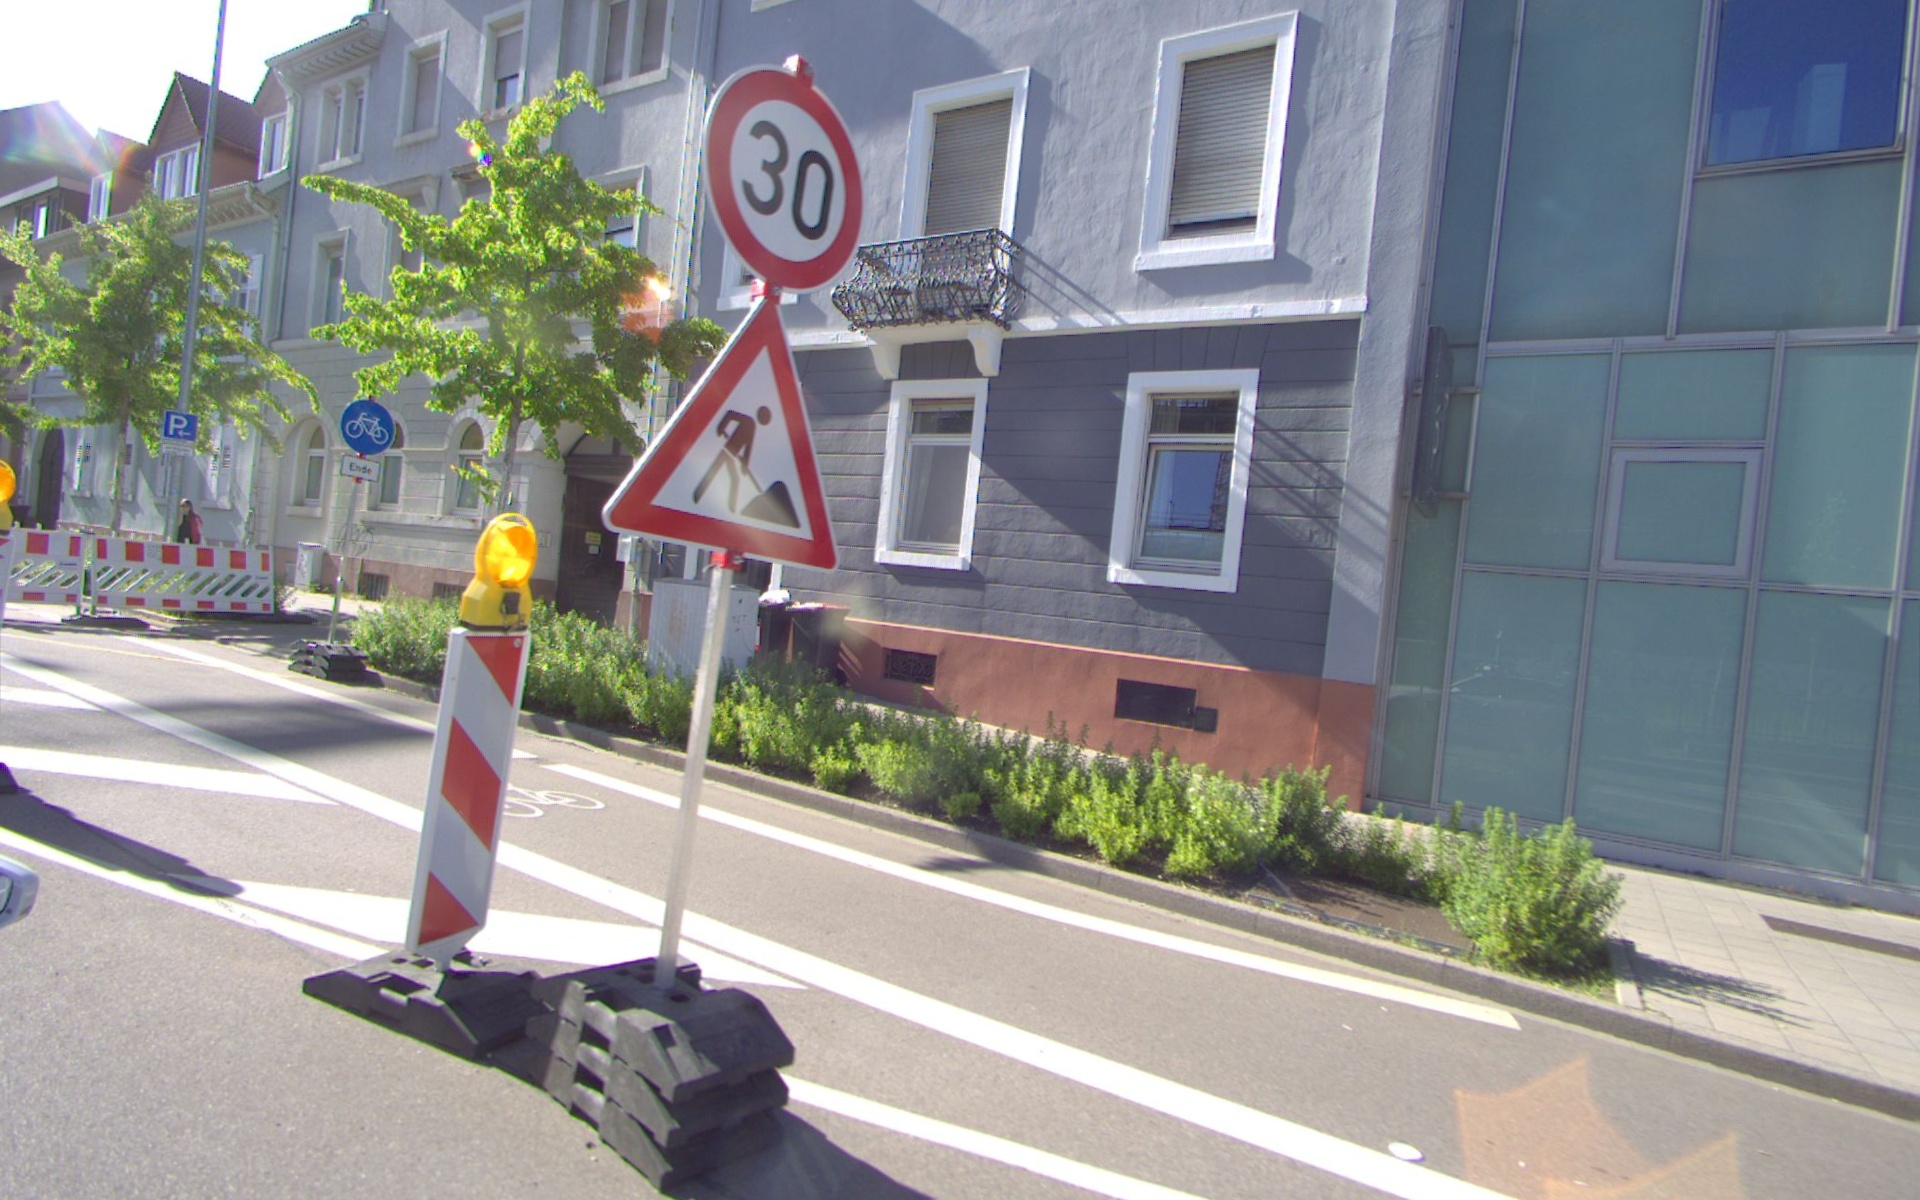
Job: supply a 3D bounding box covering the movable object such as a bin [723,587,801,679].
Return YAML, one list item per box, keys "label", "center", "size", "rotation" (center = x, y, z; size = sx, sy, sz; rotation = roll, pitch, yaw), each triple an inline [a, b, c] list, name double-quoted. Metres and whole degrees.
- label: "movable object such as a bin"
  center: [-2.640, 0.443, 13.411]
  size: [0.692, 1.121, 0.589]
  rotation: [7, 0, 33]

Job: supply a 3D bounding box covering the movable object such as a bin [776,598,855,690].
- label: "movable object such as a bin"
  center: [-1.885, 0.574, 13.122]
  size: [0.692, 1.095, 0.603]
  rotation: [7, 0, 33]

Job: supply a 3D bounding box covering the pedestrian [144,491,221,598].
- label: "pedestrian"
  center: [-15.295, -1.080, 19.803]
  size: [0.757, 1.952, 0.794]
  rotation: [7, 0, 28]
